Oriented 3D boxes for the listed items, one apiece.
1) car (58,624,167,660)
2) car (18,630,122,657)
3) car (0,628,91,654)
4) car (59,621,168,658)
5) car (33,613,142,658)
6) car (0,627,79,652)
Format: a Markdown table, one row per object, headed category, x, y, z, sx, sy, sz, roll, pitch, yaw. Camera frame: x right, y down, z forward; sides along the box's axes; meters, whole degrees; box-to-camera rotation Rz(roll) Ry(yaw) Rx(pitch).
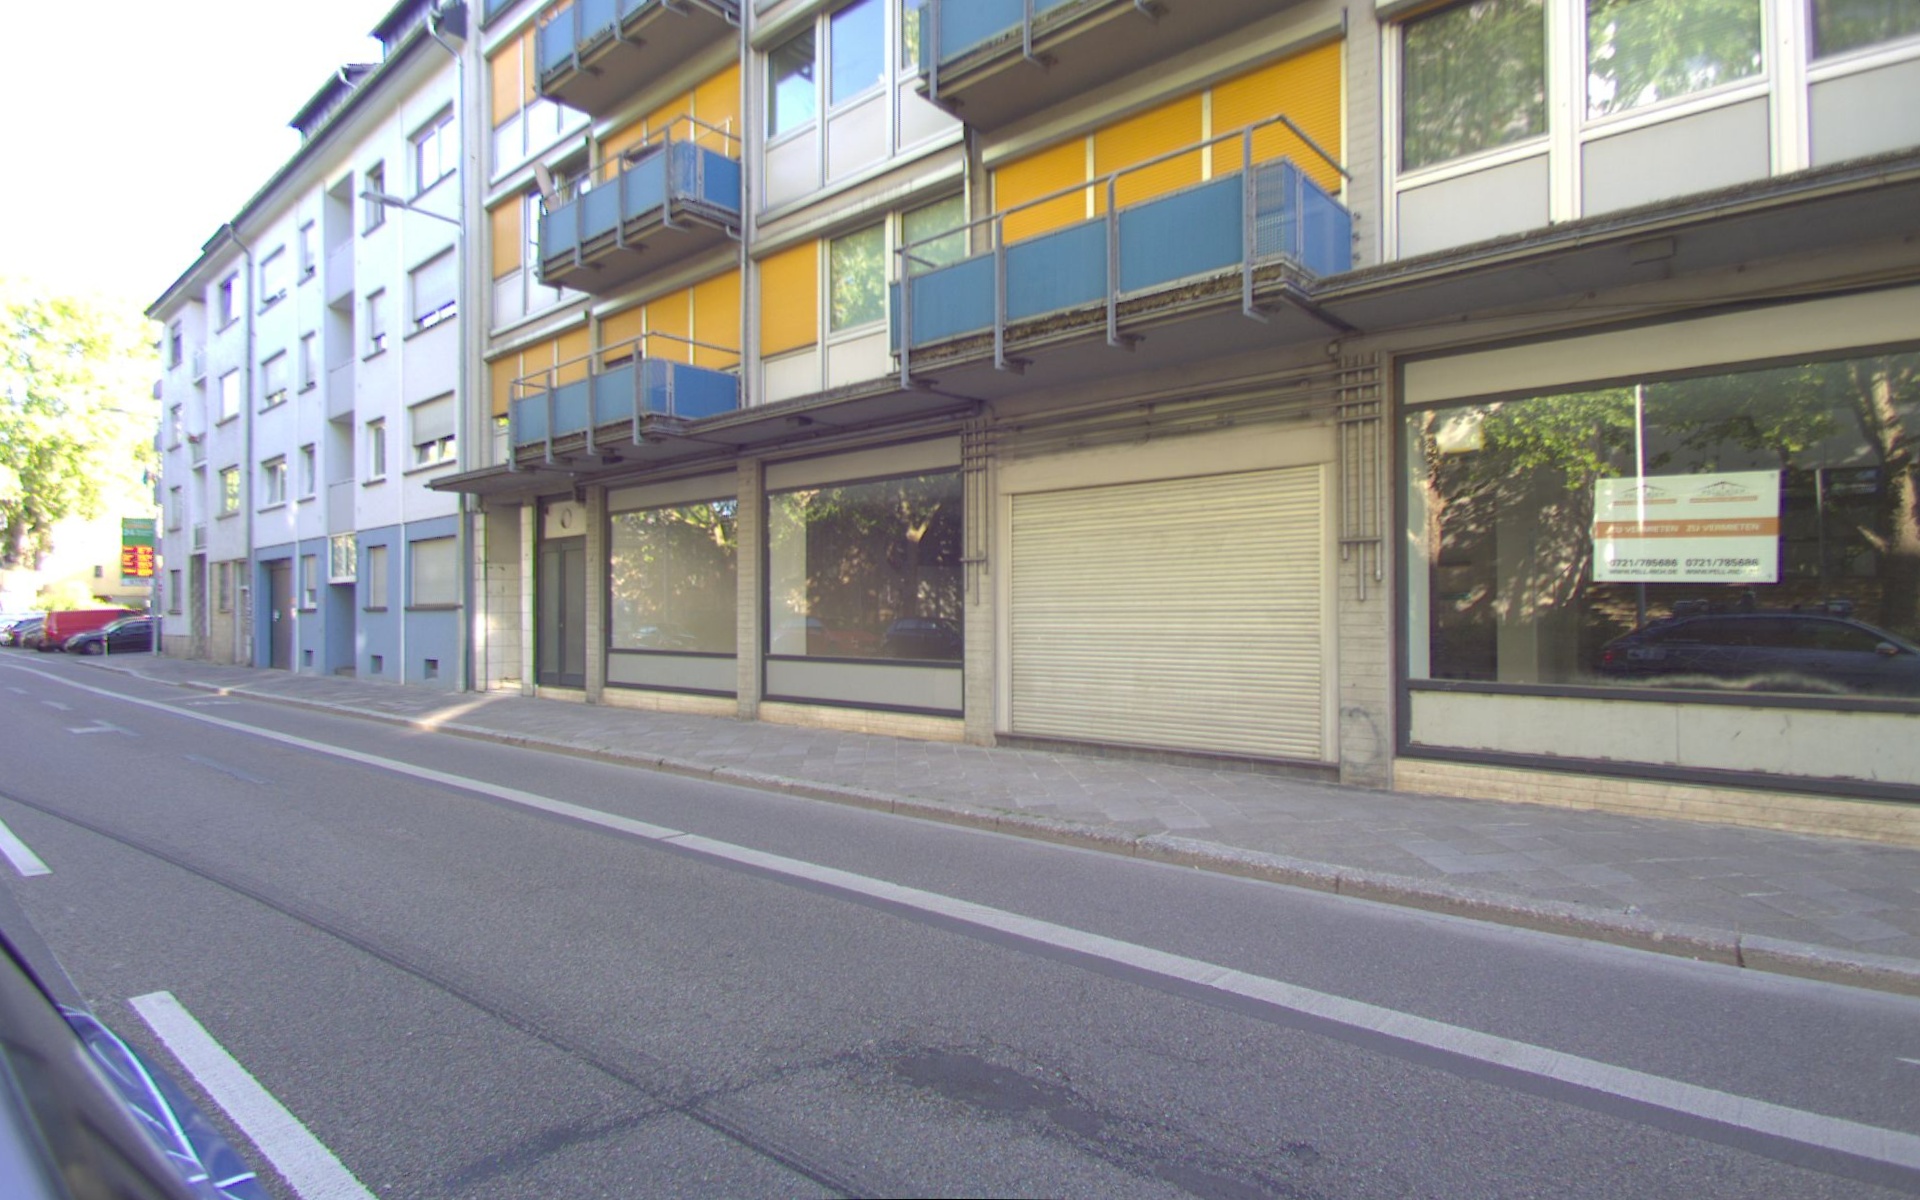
| category | x | y | z | sx | sy | sz | roll | pitch | yaw |
| --- | --- | --- | --- | --- | --- | --- | --- | --- | --- |
| car | -36.683 | 1.801 | 43.851 | 1.490 | 1.398 | 3.462 | -1 | 0 | 43 |
| car | -42.820 | 2.064 | 48.745 | 1.345 | 1.137 | 3.638 | -1 | 0 | 43 |
| car | -50.452 | 2.231 | 55.883 | 1.345 | 1.254 | 3.638 | -1 | 0 | 43 |
| car | -38.199 | 1.758 | 45.731 | 1.490 | 1.523 | 3.638 | -1 | 0 | 43 |
| car | -40.658 | 1.638 | 47.230 | 1.488 | 1.923 | 3.642 | -4 | -2 | 39 |
| car | -52.266 | 2.238 | 57.512 | 1.345 | 1.254 | 3.228 | -1 | 0 | 43 |
